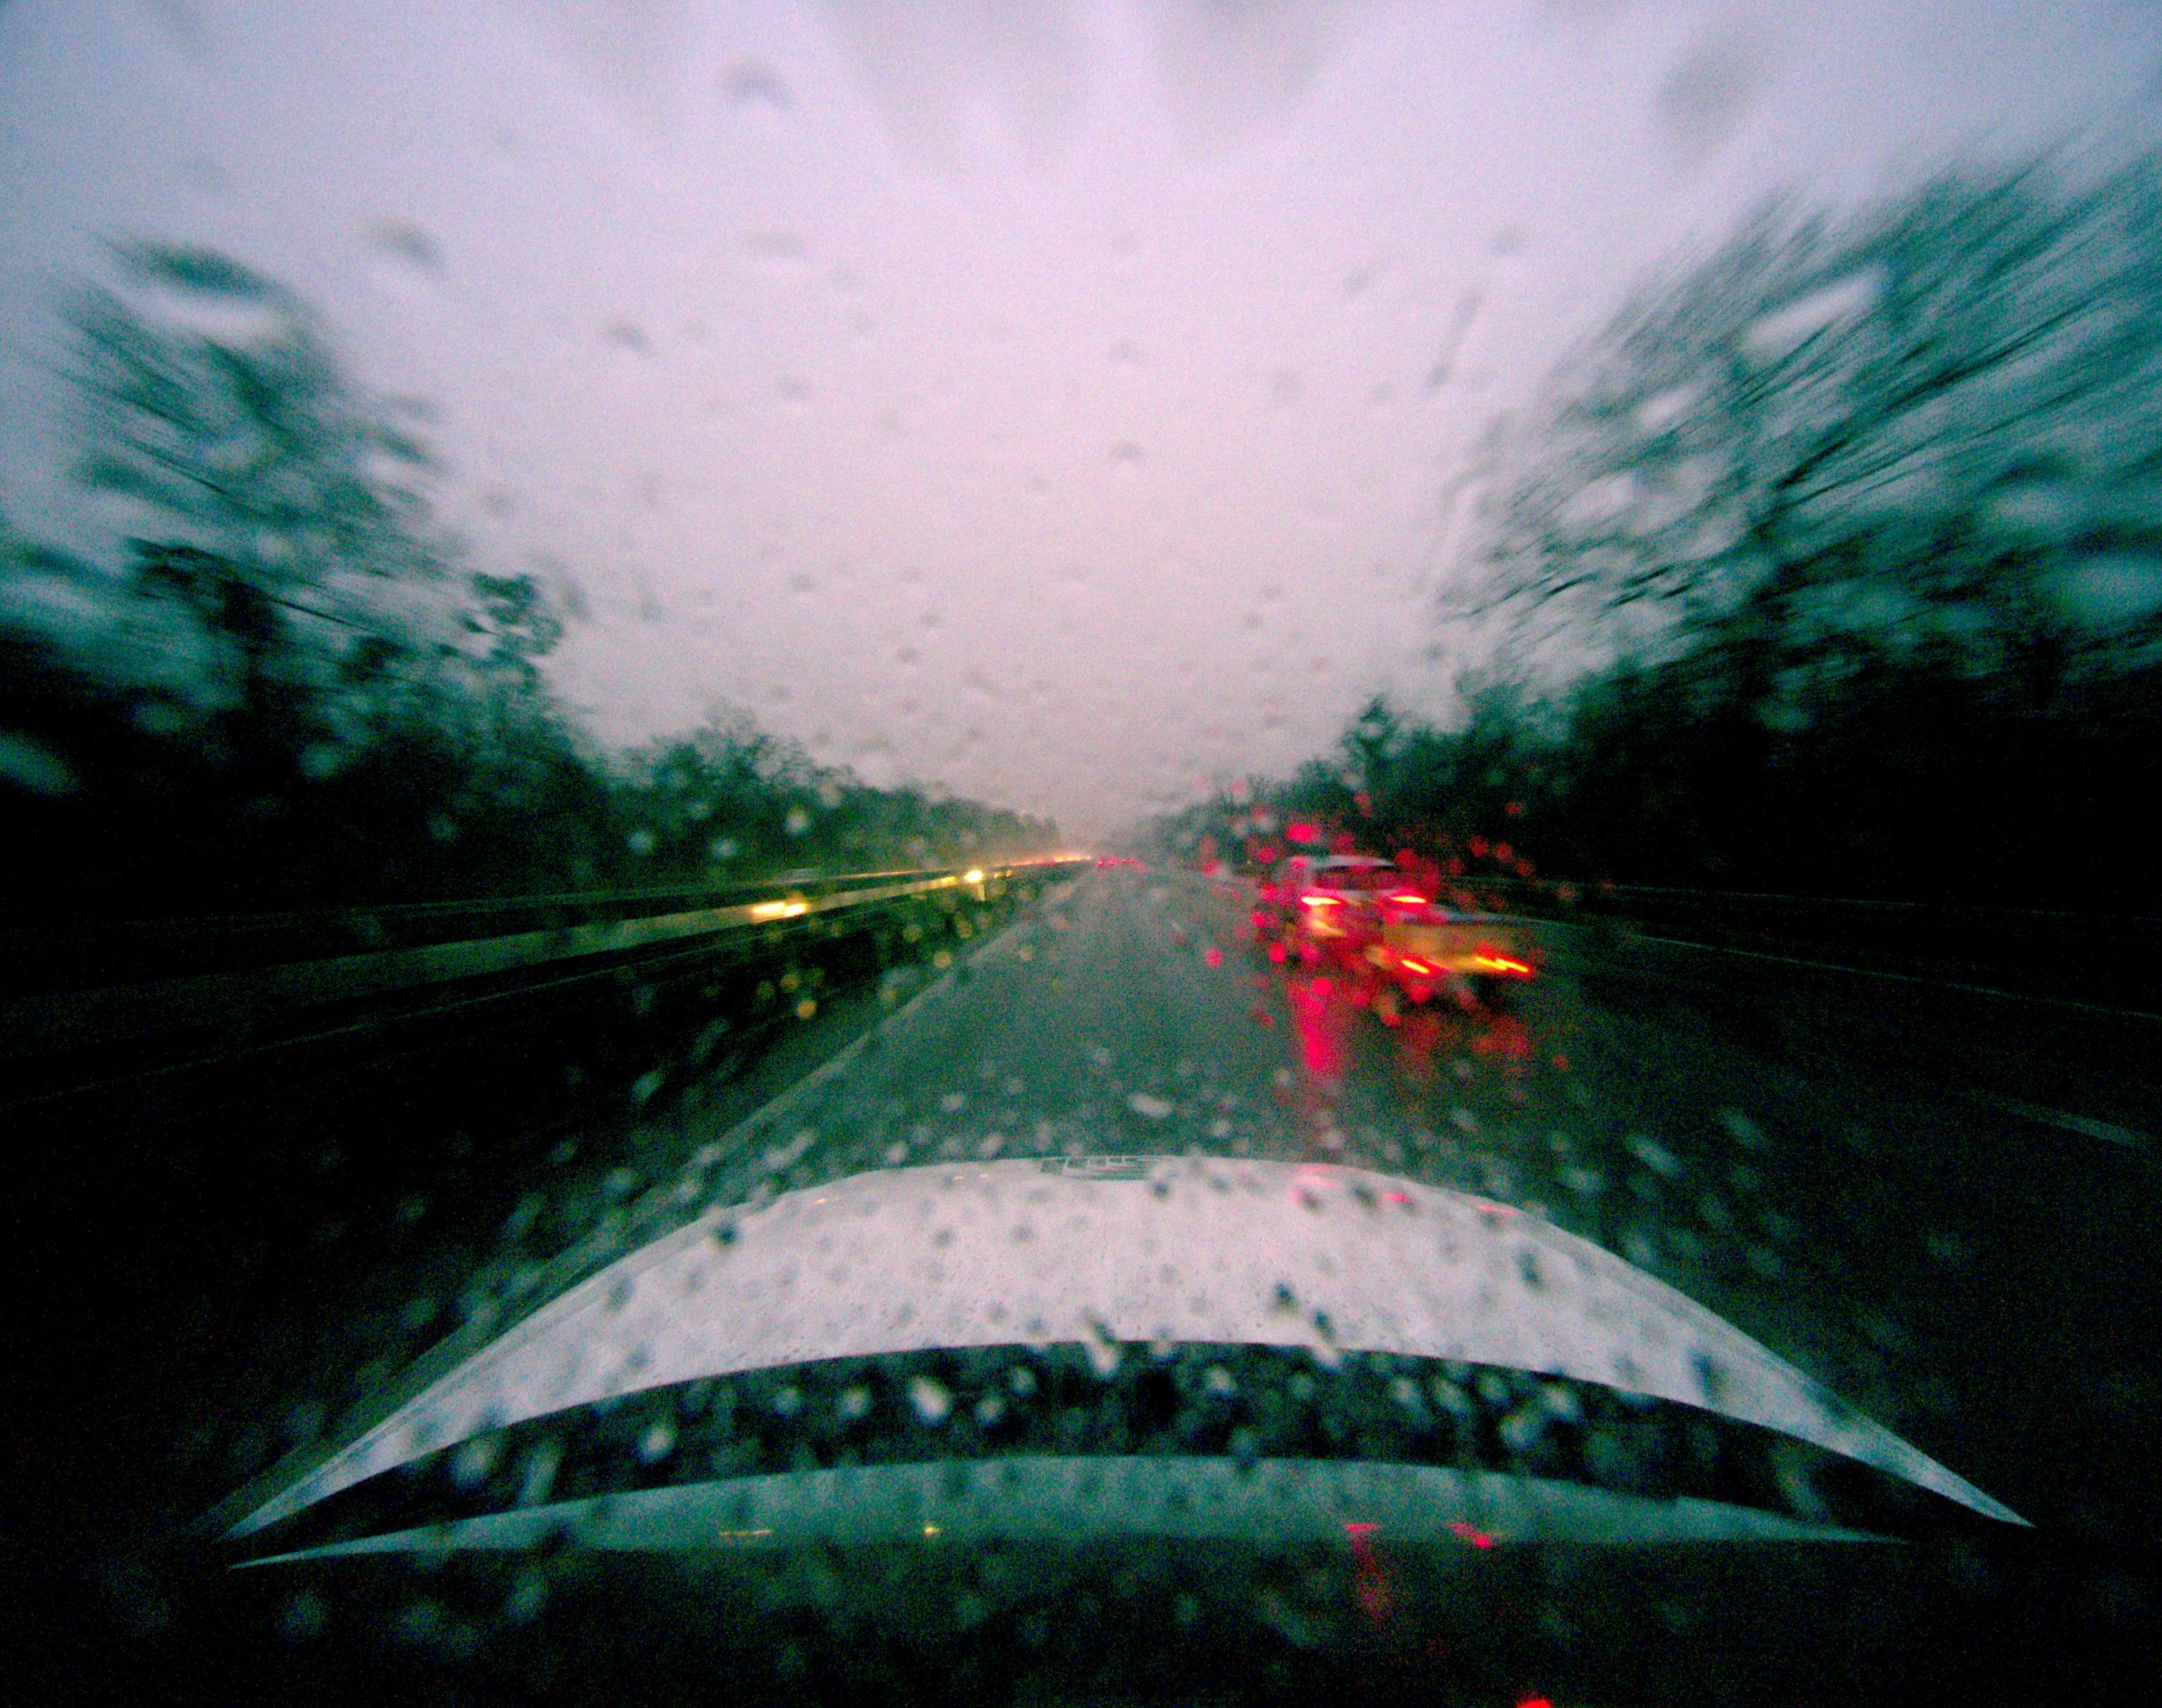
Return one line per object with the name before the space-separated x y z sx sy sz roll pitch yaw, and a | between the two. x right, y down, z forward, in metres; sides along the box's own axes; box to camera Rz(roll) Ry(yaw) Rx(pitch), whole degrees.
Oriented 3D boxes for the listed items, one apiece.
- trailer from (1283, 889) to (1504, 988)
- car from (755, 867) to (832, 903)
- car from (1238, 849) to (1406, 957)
trailer | 3.777 0.983 10.369 1.741 0.925 2.952 -2 0 2
car | -12.306 1.292 35.115 1.698 1.351 4.158 -1 0 2
car | 3.883 0.729 13.774 1.780 1.516 3.813 -2 0 2
